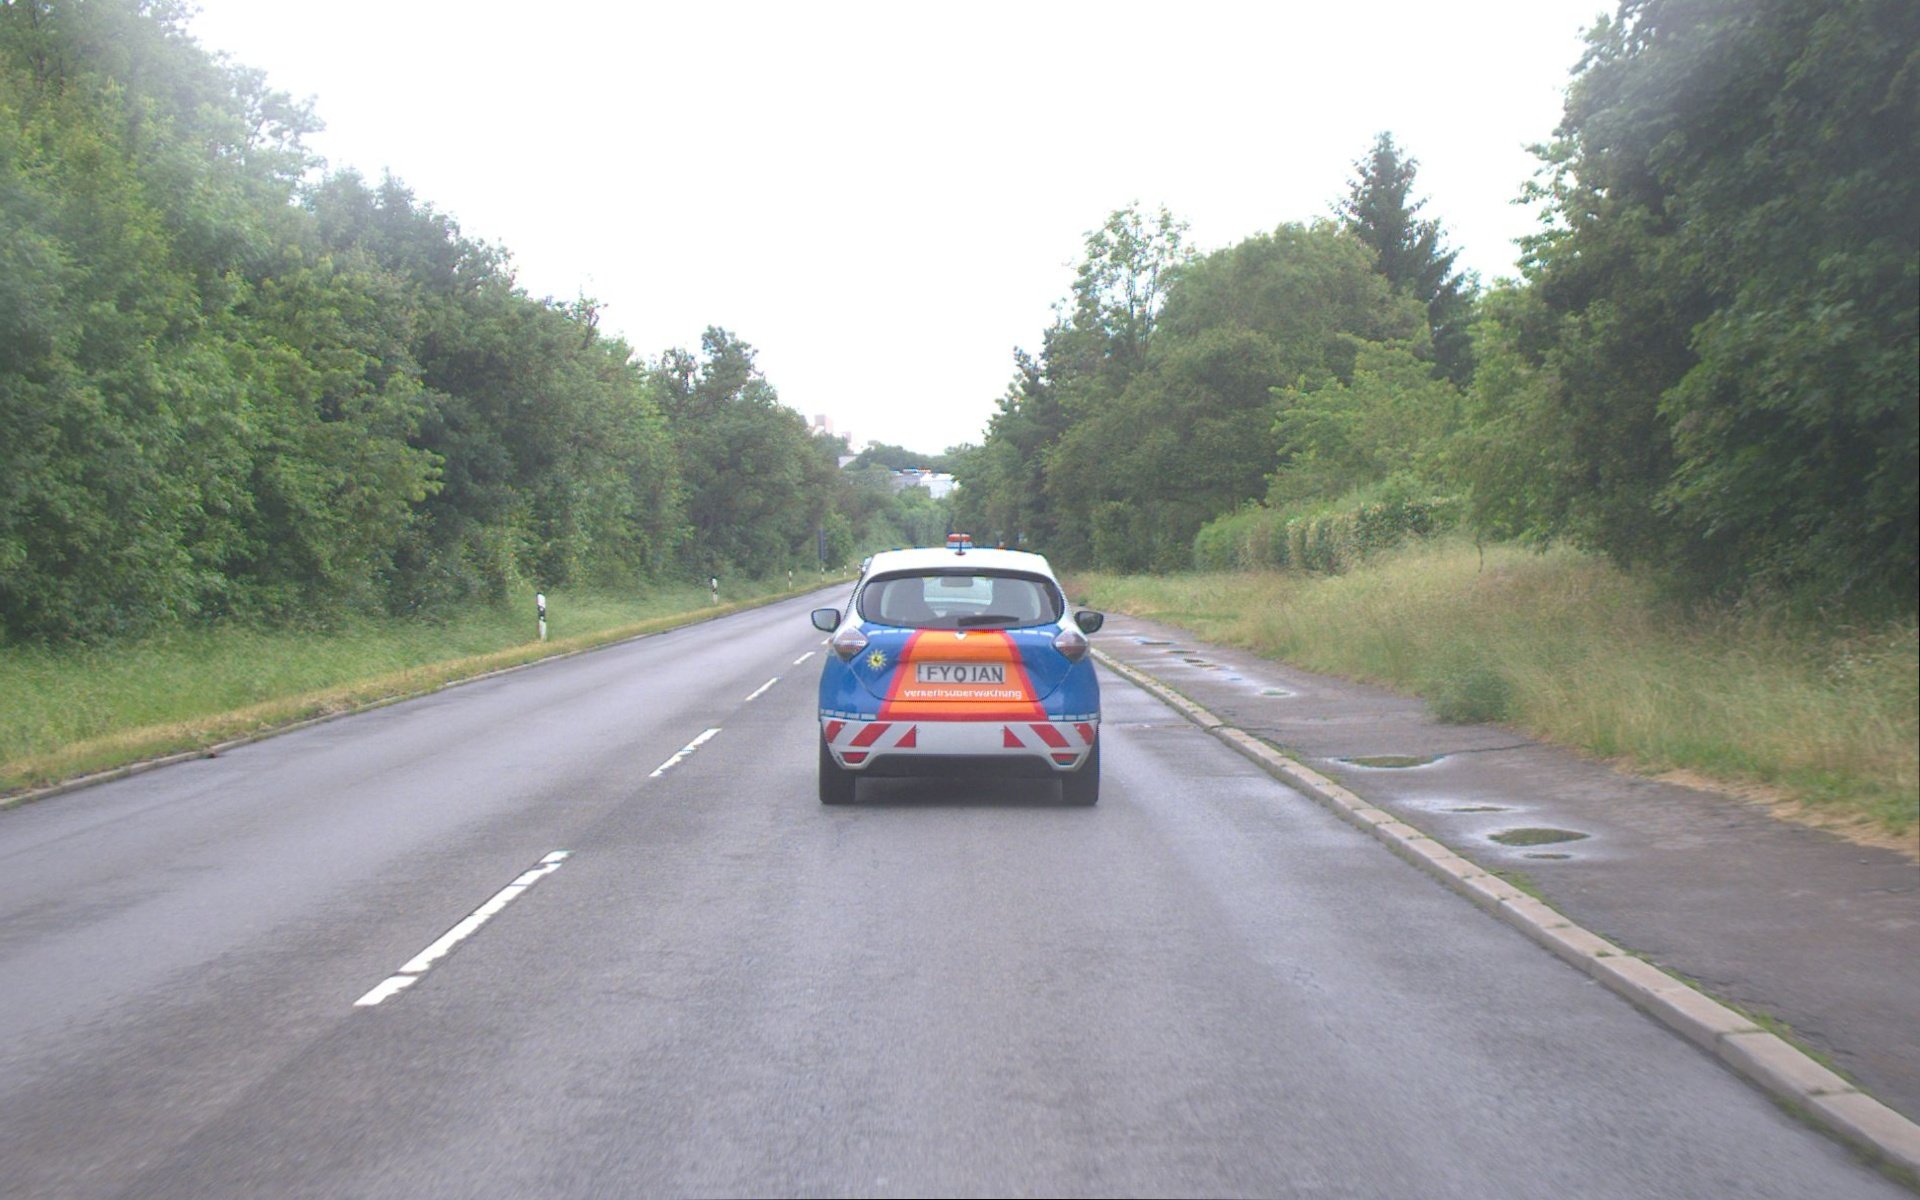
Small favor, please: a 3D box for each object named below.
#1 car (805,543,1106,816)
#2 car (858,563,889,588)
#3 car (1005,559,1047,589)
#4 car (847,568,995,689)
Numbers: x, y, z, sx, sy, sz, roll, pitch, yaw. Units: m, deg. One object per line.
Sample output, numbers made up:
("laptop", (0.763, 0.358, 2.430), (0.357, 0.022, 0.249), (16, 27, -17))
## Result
("car", (-0.046, 0.433, 21.968), (1.752, 1.550, 3.793), (0, 2, -1))
("car", (-5.579, -1.596, 222.329), (1.905, 1.551, 4.516), (-2, 1, 0))
("car", (3.202, -1.274, 167.286), (1.993, 1.371, 4.000), (-2, 1, 0))
("car", (-0.414, 0.296, 39.623), (1.598, 1.282, 3.476), (-2, 1, 0))
